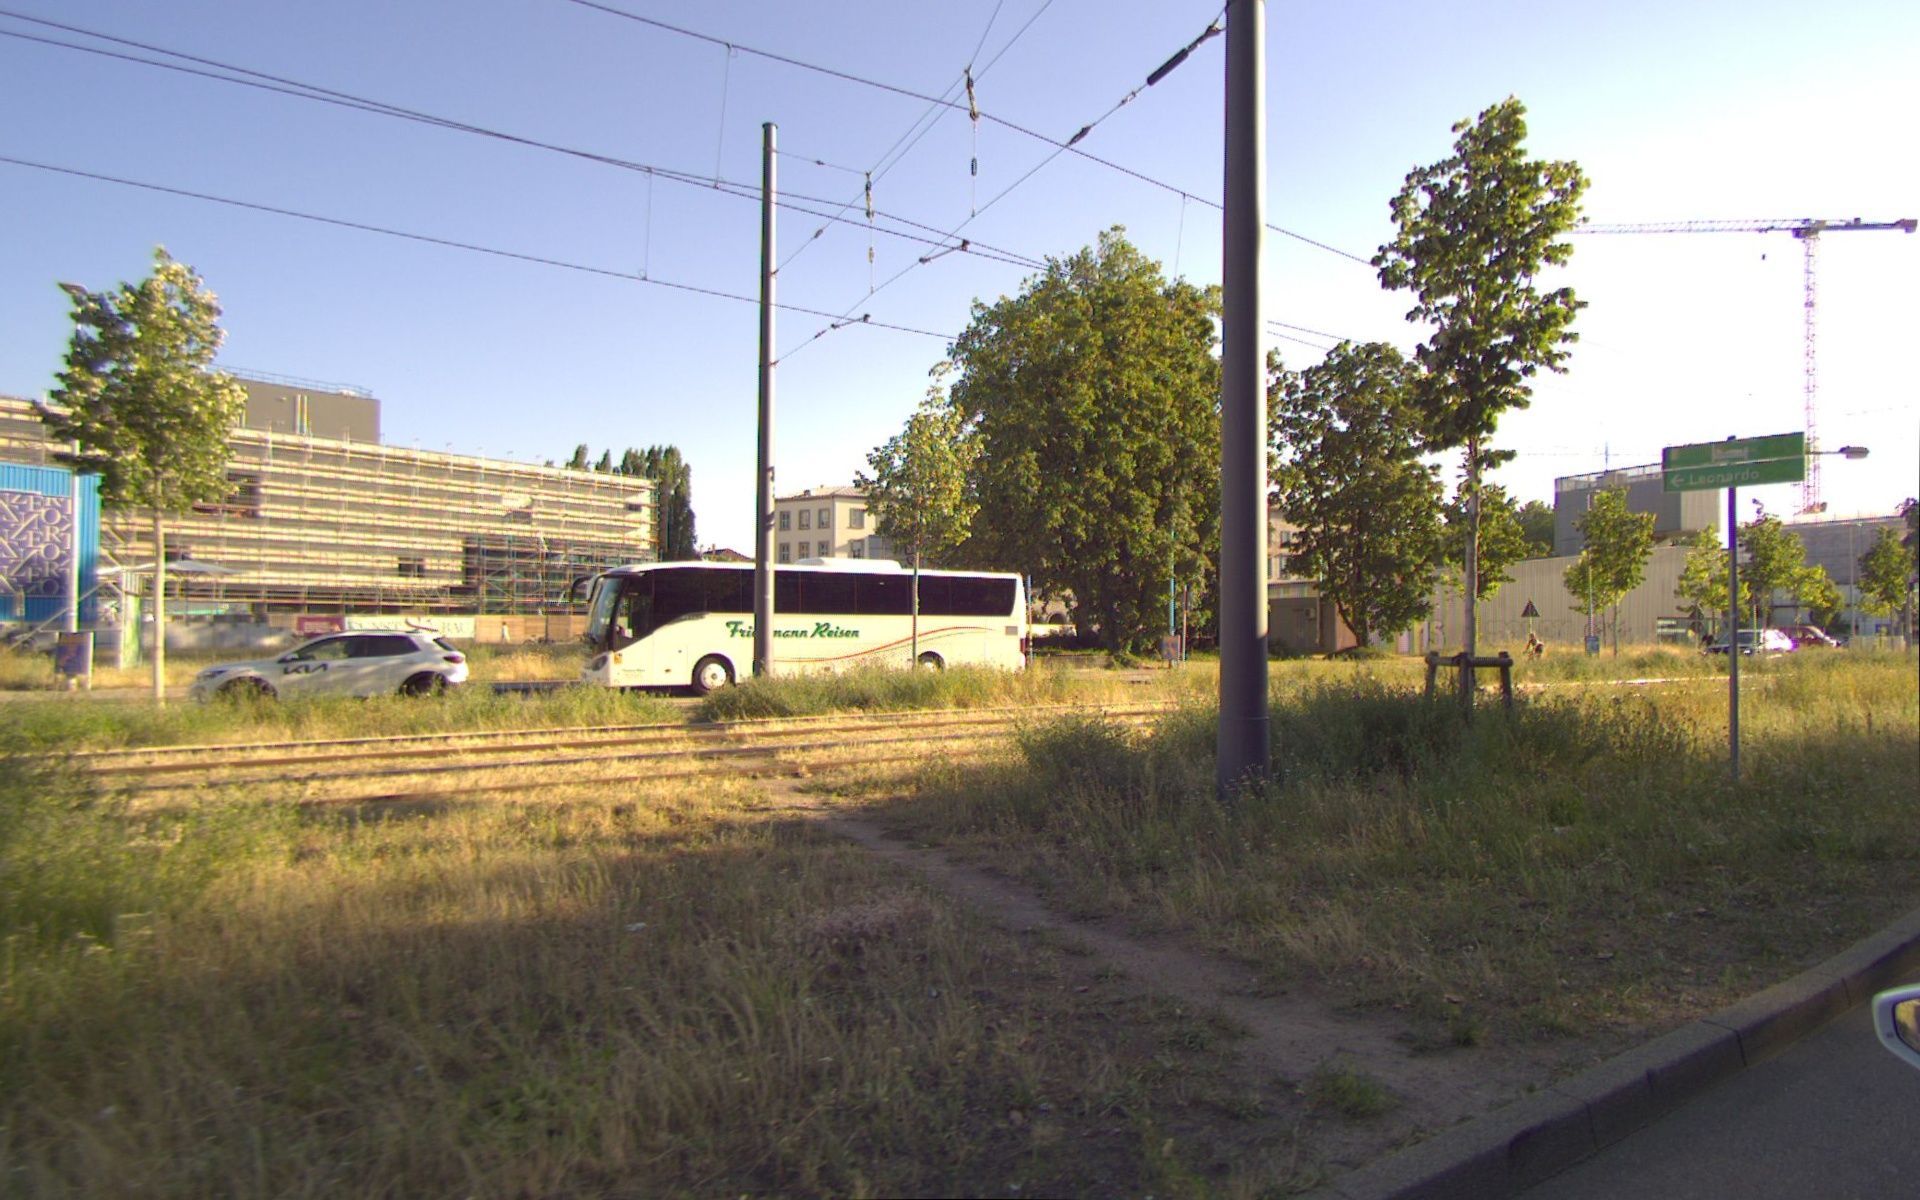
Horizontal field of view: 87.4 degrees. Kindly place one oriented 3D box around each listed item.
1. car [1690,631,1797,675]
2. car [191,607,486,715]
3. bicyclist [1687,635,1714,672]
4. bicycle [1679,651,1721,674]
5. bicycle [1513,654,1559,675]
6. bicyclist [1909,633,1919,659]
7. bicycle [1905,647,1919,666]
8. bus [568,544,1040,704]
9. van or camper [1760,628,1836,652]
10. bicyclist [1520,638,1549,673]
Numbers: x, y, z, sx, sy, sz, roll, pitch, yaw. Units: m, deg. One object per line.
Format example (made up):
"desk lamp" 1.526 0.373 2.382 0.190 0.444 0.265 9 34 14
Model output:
"car" 33.203 2.199 42.538 4.754 1.789 1.863 1 -2 -29
"car" -10.617 1.011 17.493 4.118 1.664 1.985 1 -2 -30
"bicyclist" 35.165 2.538 47.697 0.942 1.730 0.685 1 -2 -28
"bicycle" 35.151 2.960 47.687 2.332 1.016 0.685 1 -2 -28
"bicycle" 23.484 2.633 40.940 2.119 0.815 0.684 1 -2 -30
"bicyclist" 55.784 2.679 58.476 0.659 1.527 0.554 1 -2 -28
"bicycle" 55.843 3.293 58.498 1.874 1.074 0.556 1 -2 -28
"bus" -3.767 0.702 27.252 12.548 3.642 2.786 1 -2 -30
"van or camper" 86.173 4.075 103.353 2.126 2.446 5.643 1 -2 -25
"bicyclist" 23.391 2.252 40.892 0.861 1.364 0.684 1 -2 -30
